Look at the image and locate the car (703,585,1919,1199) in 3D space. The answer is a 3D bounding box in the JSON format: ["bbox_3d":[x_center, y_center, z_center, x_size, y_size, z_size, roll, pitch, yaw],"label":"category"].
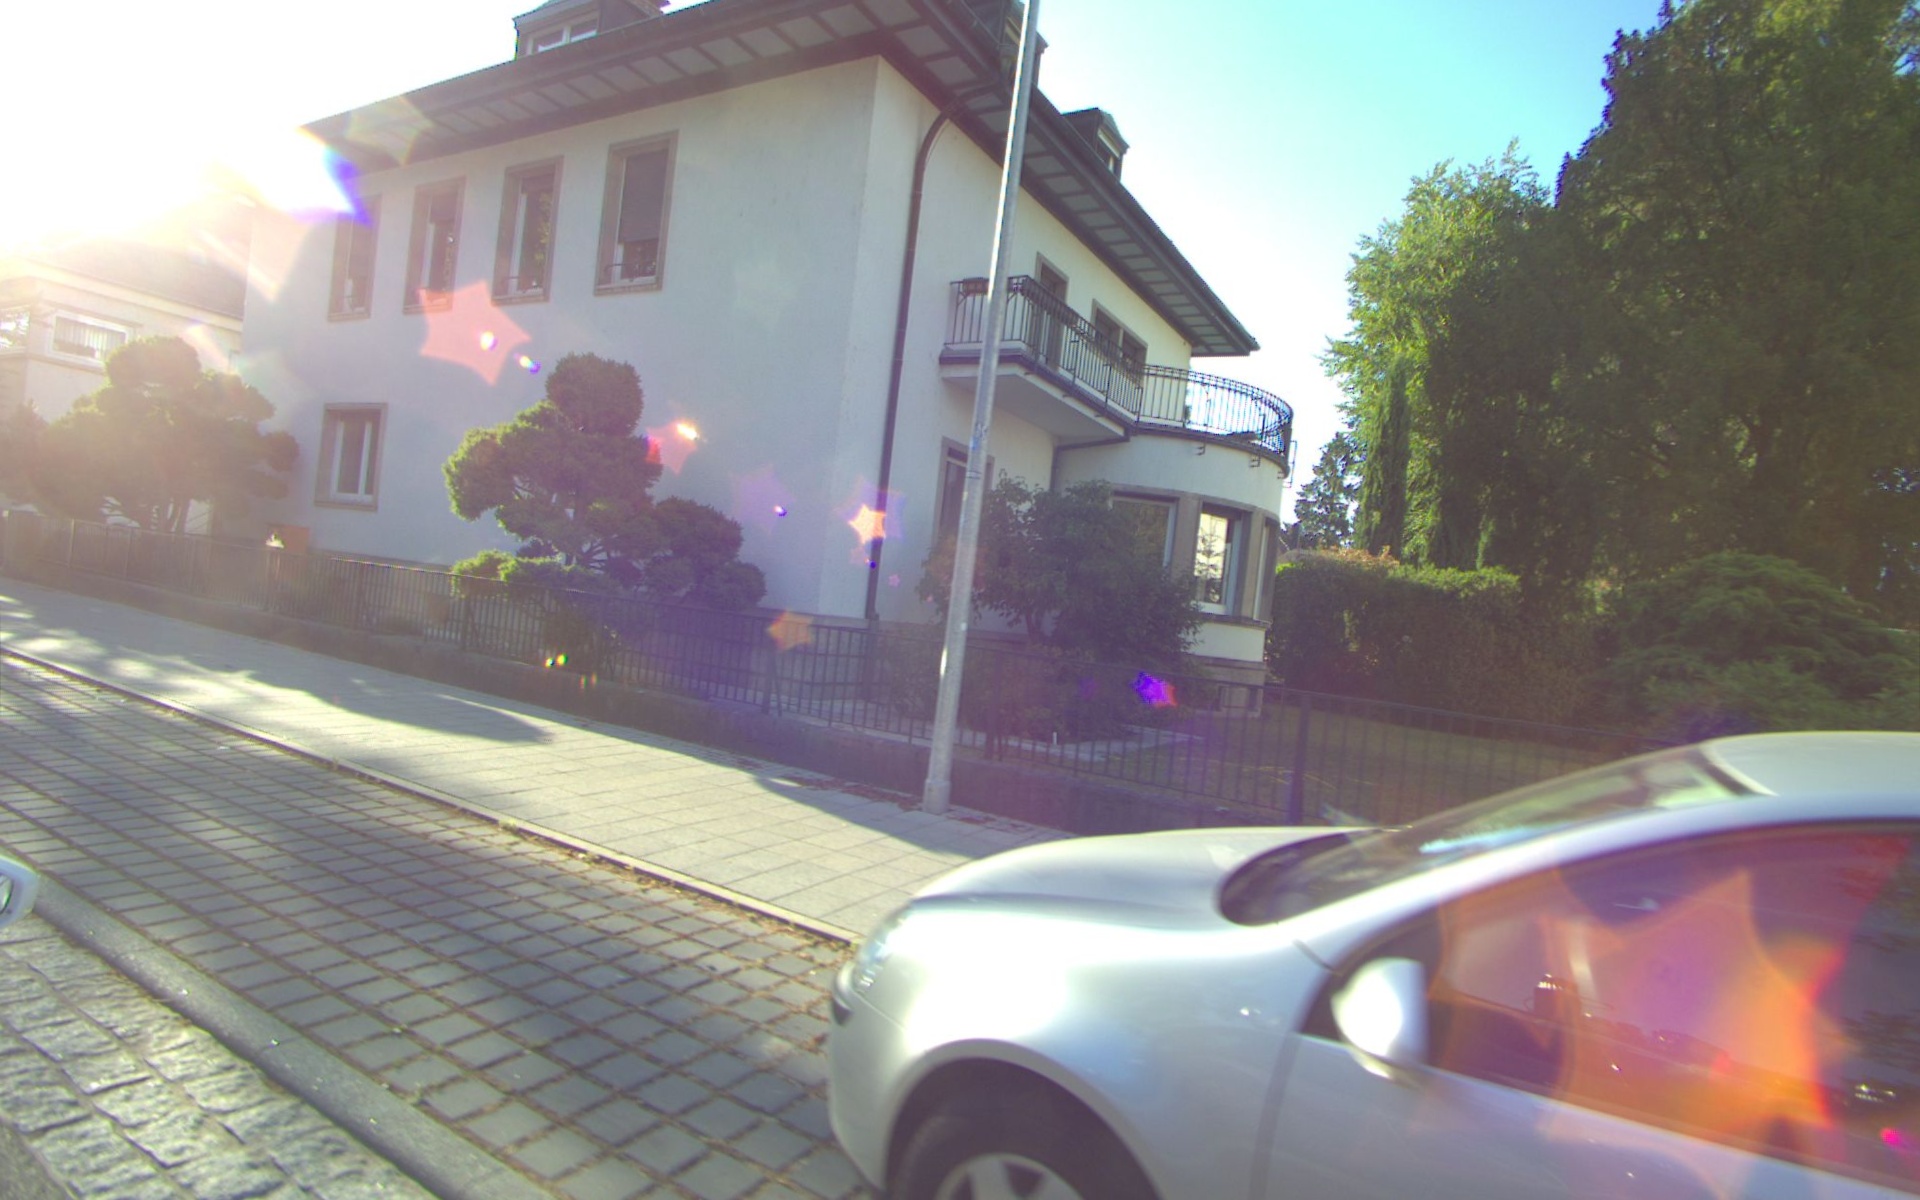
[{"bbox_3d":[1.489,0.915,1.884,3.863,1.494,1.742,7,3,37],"label":"car"}]
